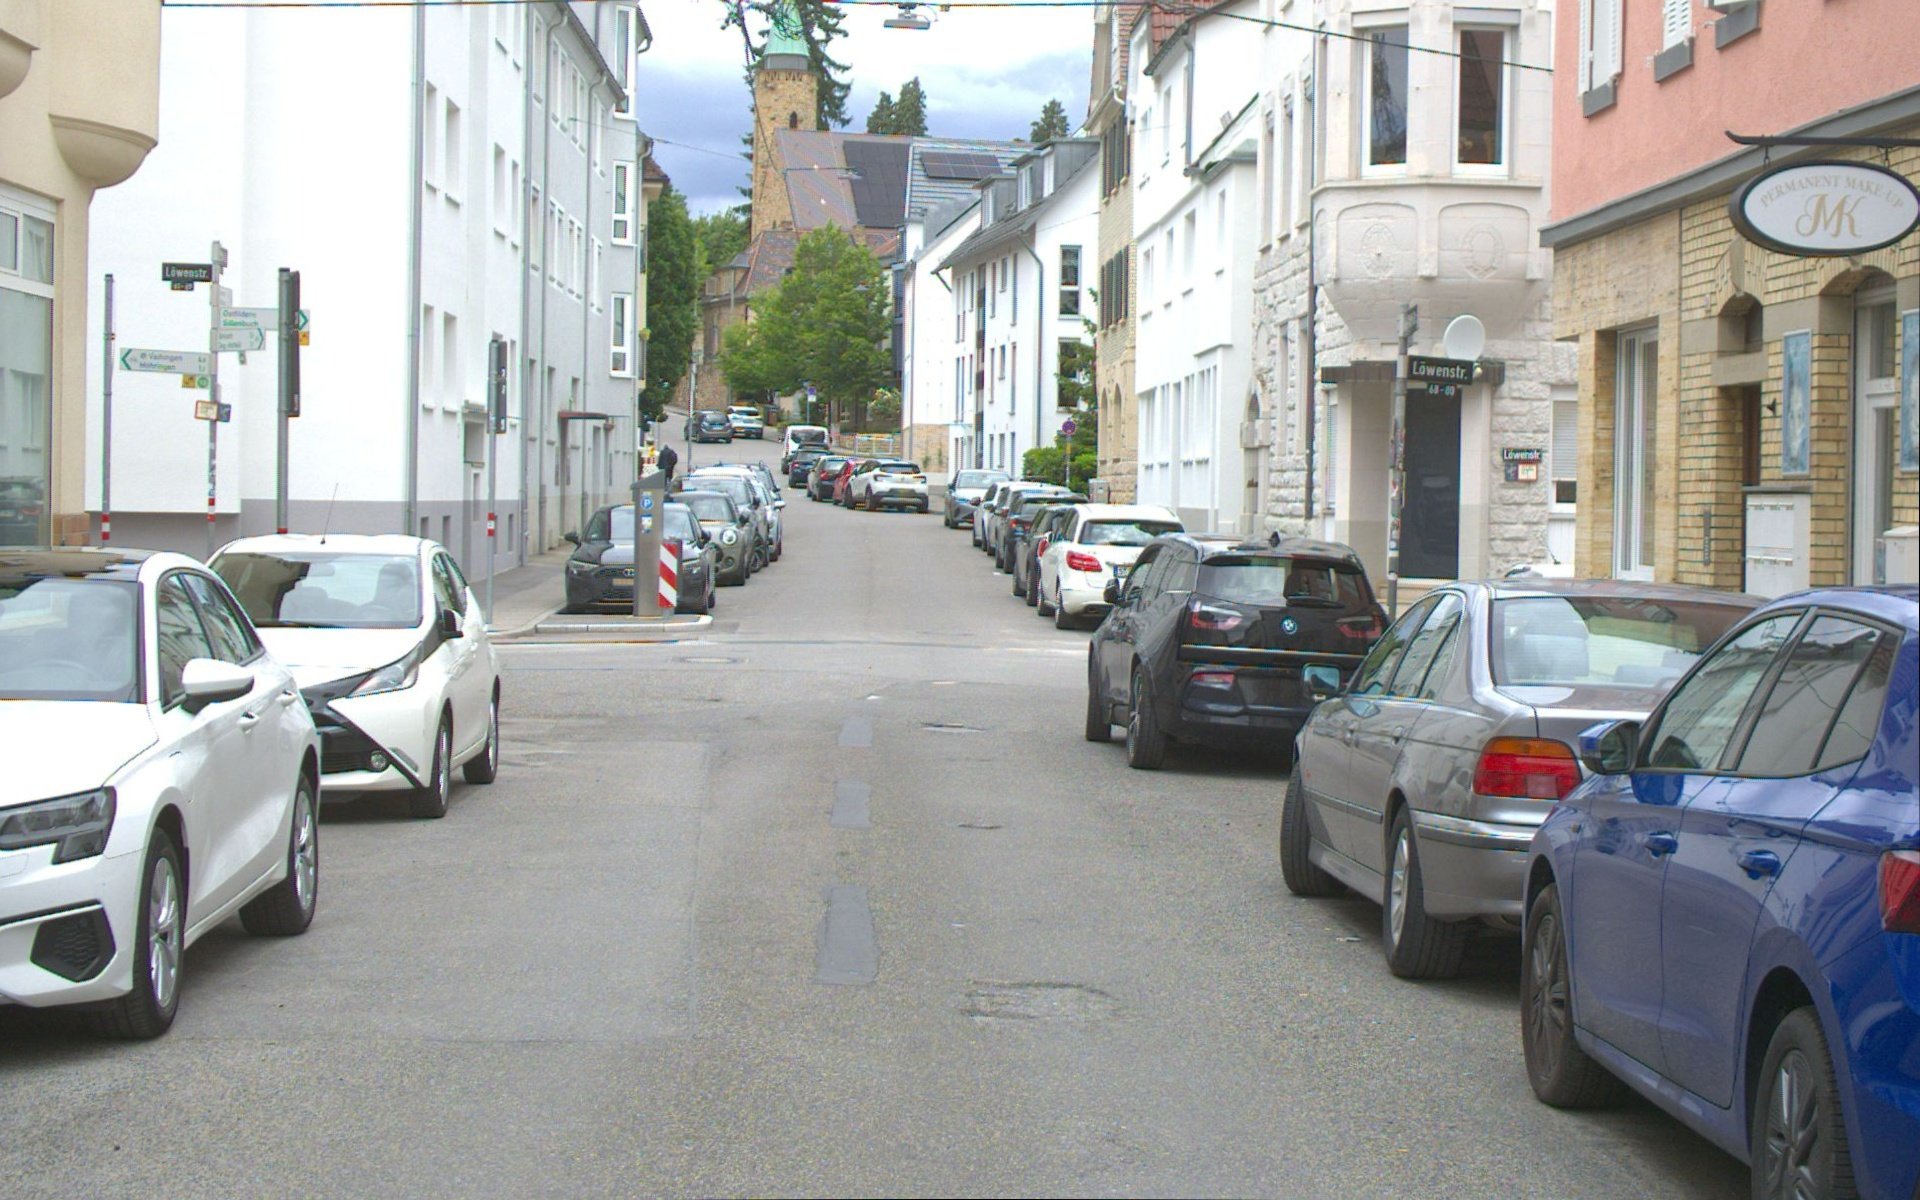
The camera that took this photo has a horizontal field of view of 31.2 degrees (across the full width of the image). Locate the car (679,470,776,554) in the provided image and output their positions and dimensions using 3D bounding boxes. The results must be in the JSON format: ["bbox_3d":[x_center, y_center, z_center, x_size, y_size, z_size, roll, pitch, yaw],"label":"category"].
[{"bbox_3d":[-4.283,-1.650,63.518,1.730,1.443,3.720,0,3,-3],"label":"car"}]

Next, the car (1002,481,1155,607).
[{"bbox_3d":[1.644,-0.831,48.923,1.667,1.527,4.029,3,3,-4],"label":"car"}]

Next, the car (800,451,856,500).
[{"bbox_3d":[-4.349,-4.081,112.625,1.667,1.474,3.627,1,3,-4],"label":"car"}]

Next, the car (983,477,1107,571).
[{"bbox_3d":[1.422,-1.331,59.197,1.667,1.380,4.029,3,3,-4],"label":"car"}]

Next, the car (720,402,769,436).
[{"bbox_3d":[-11.300,-9.466,179.951,2.181,1.687,3.627,1,3,-9],"label":"car"}]

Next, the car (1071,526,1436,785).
[{"bbox_3d":[1.922,0.313,23.732,1.817,1.538,4.028,3,1,-4],"label":"car"}]

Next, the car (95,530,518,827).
[{"bbox_3d":[-3.492,0.372,18.997,1.666,1.429,3.816,-2,1,-1],"label":"car"}]

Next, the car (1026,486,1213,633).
[{"bbox_3d":[1.980,-0.560,43.815,1.820,1.593,4.029,3,3,-4],"label":"car"}]

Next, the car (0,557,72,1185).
[{"bbox_3d":[-3.100,0.665,6.416,1.751,1.451,4.370,-2,1,0],"label":"car"}]

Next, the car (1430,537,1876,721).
[{"bbox_3d":[6.372,0.255,31.809,3.613,1.474,1.674,3,2,-9],"label":"car"}]

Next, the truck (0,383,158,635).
[{"bbox_3d":[-11.655,-0.969,35.757,6.265,2.543,2.318,1,0,-9],"label":"truck"}]

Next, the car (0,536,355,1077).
[{"bbox_3d":[-3.212,0.546,11.281,1.751,1.427,4.370,-2,1,-1],"label":"car"}]

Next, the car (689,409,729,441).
[{"bbox_3d":[-12.644,-8.818,173.146,1.667,1.474,3.627,1,3,-9],"label":"car"}]

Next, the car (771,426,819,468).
[{"bbox_3d":[-6.232,-5.764,129.535,1.667,1.474,3.627,1,3,-4],"label":"car"}]

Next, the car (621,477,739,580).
[{"bbox_3d":[-4.313,-1.133,53.329,1.730,1.484,3.720,0,3,-3],"label":"car"}]

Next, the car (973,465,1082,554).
[{"bbox_3d":[1.261,-1.748,65.590,1.667,1.474,3.627,3,3,-4],"label":"car"}]

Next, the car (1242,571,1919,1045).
[{"bbox_3d":[2.305,0.650,13.229,1.786,1.412,4.578,4,0,-2],"label":"car"}]

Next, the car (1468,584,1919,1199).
[{"bbox_3d":[2.406,0.725,7.865,1.751,1.427,3.928,3,0,-1],"label":"car"}]

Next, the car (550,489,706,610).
[{"bbox_3d":[-4.214,-0.681,44.144,1.820,1.386,4.299,0,3,-3],"label":"car"}]

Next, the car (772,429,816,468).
[{"bbox_3d":[-6.839,-6.239,141.159,1.667,1.474,3.627,1,3,-4],"label":"car"}]

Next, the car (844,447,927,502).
[{"bbox_3d":[-2.221,-3.718,101.612,1.783,1.474,3.628,1,3,-11],"label":"car"}]

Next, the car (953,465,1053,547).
[{"bbox_3d":[0.853,-1.943,70.116,1.667,1.474,3.627,3,3,-4],"label":"car"}]

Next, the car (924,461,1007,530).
[{"bbox_3d":[0.112,-2.536,83.231,1.667,1.474,3.627,3,3,-4],"label":"car"}]
